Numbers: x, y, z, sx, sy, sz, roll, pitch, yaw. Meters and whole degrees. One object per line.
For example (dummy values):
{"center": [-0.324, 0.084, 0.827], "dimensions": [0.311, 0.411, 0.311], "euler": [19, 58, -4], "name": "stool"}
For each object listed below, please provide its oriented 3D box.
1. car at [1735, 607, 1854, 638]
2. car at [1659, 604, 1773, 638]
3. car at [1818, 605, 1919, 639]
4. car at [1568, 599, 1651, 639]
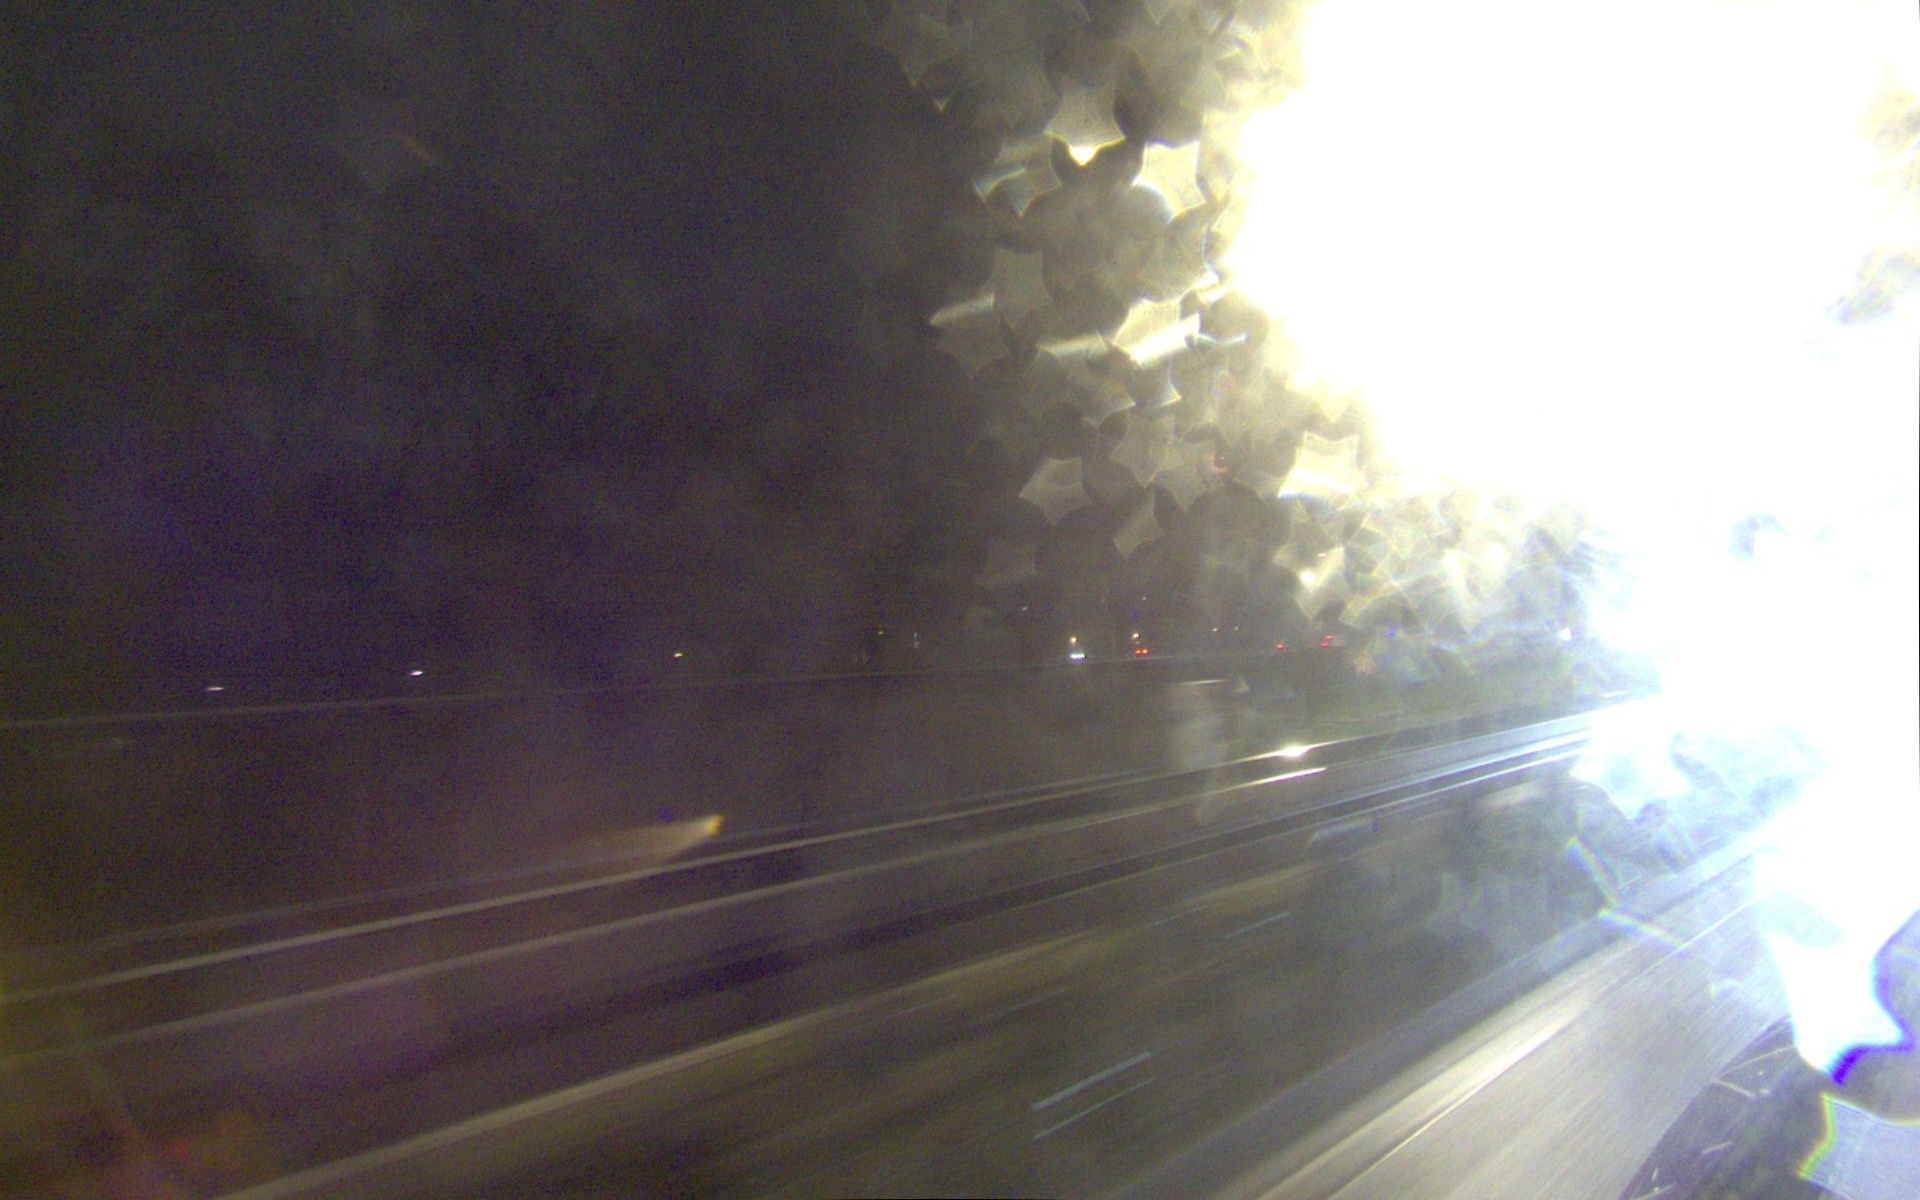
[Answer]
{"center": [42.870, 1.119, 52.145], "dimensions": [1.959, 1.426, 4.553], "euler": [0, 0, -9], "name": "car"}
{"center": [39.471, 1.075, 52.984], "dimensions": [1.959, 1.660, 4.789], "euler": [0, 0, -9], "name": "car"}
{"center": [47.106, 1.090, 52.125], "dimensions": [1.958, 1.660, 4.126], "euler": [0, 0, -11], "name": "car"}
{"center": [38.203, 1.144, 59.620], "dimensions": [1.728, 2.040, 4.003], "euler": [-5, -3, -8], "name": "car"}
